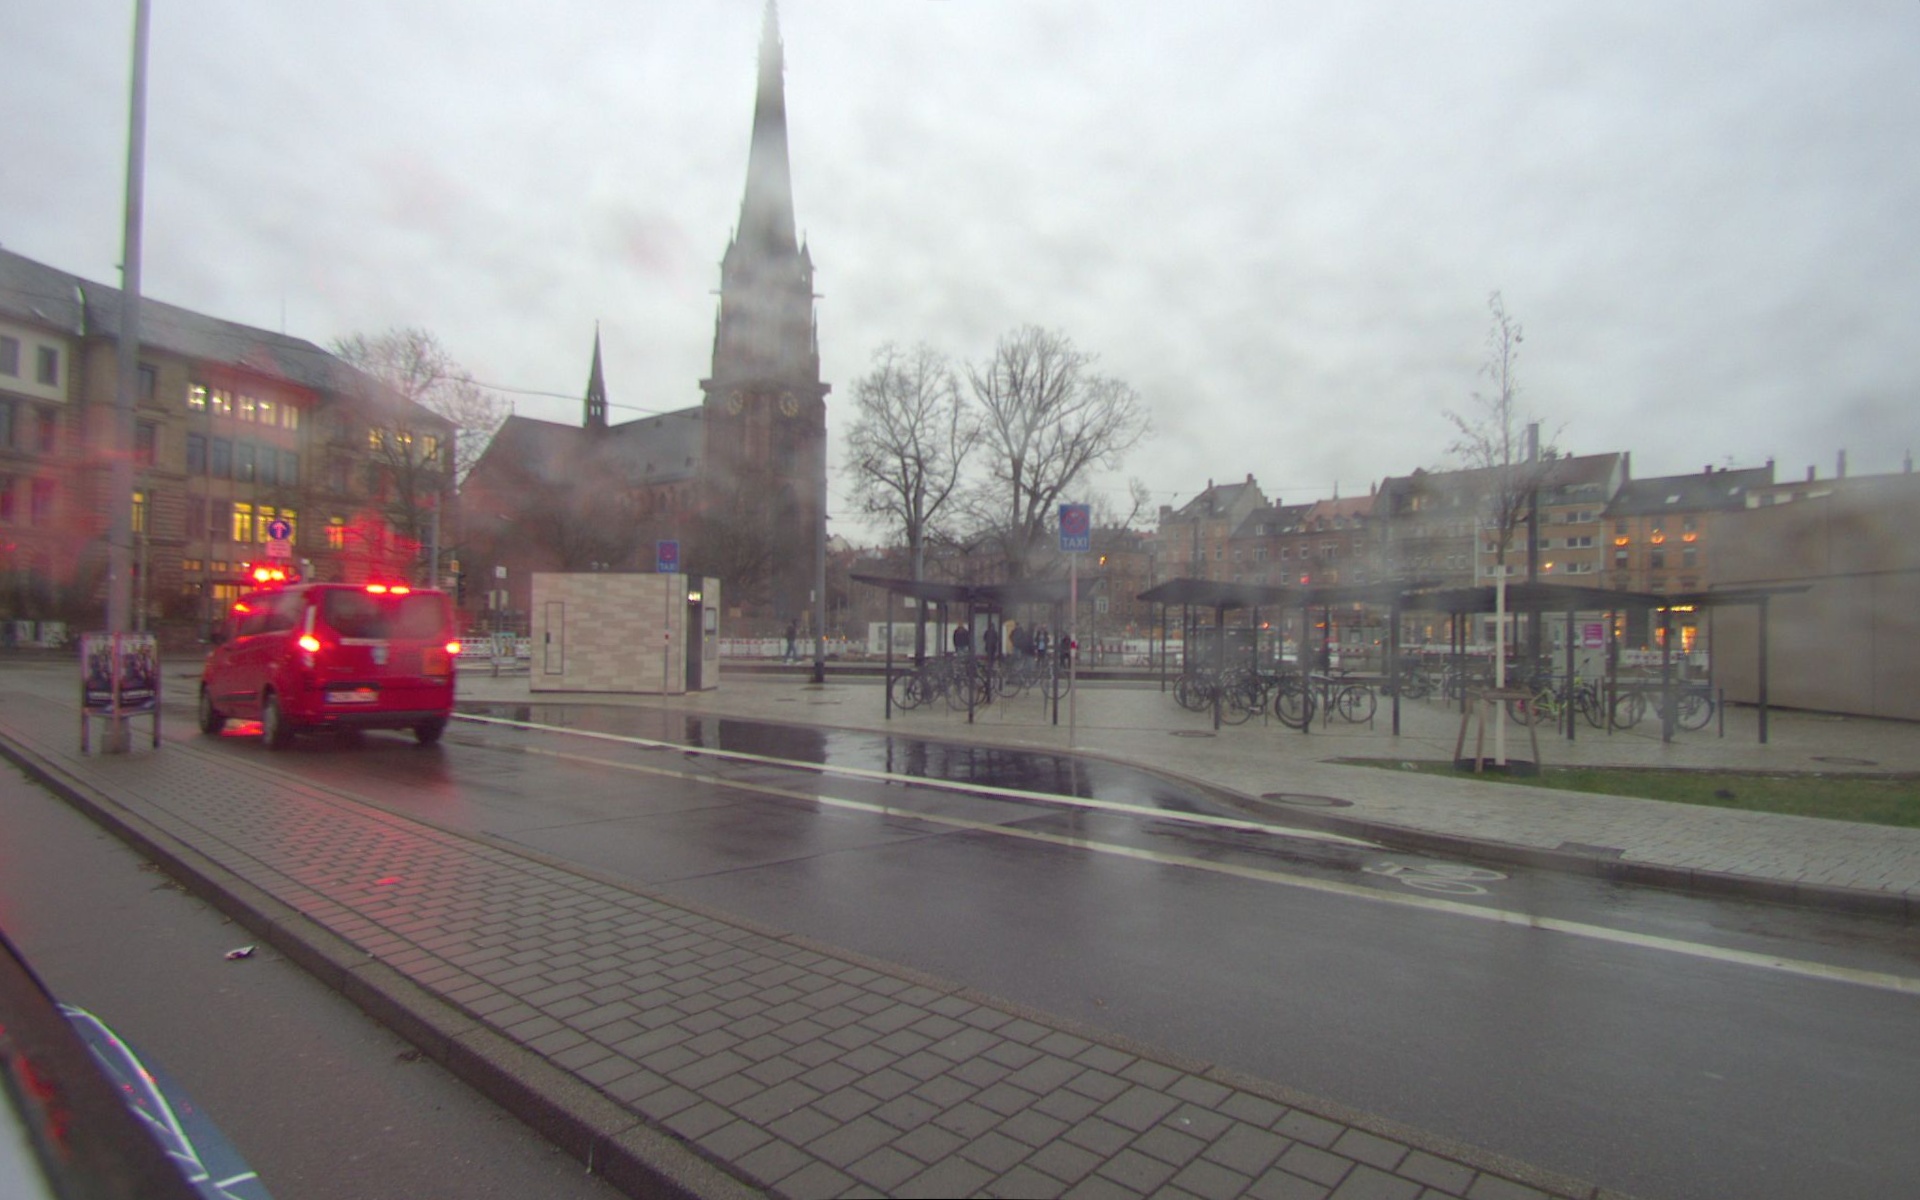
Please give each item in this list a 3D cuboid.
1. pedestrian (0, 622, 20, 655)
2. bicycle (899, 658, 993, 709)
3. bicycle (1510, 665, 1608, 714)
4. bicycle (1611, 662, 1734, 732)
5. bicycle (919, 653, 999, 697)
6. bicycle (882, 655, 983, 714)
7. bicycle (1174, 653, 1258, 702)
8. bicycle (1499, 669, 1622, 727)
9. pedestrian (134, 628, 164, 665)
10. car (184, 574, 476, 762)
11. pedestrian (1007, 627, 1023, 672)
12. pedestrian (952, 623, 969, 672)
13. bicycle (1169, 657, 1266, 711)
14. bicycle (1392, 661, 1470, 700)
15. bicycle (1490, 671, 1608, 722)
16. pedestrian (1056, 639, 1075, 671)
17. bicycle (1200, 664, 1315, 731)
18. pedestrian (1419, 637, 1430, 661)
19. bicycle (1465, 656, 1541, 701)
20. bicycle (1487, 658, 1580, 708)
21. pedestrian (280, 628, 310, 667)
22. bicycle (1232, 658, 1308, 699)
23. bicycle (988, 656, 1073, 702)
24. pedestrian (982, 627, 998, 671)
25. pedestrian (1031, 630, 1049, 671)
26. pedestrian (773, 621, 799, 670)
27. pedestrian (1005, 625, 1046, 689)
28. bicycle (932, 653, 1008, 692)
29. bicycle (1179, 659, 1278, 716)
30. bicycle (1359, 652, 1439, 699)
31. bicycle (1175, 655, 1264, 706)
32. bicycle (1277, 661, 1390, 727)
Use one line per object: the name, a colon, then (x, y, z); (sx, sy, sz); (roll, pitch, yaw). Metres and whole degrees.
pedestrian: (-51.222, 2.075, 54.211); (0.916, 1.737, 0.826); (0, -3, 4)
bicycle: (-0.287, 1.732, 21.108); (1.905, 0.993, 0.473); (1, -1, 11)
bicycle: (12.901, 1.917, 21.835); (1.751, 0.963, 0.473); (1, -1, 11)
bicycle: (12.690, 1.722, 18.050); (1.731, 1.165, 0.617); (1, -1, 1)
bicycle: (-0.014, 1.827, 24.873); (1.905, 0.993, 0.473); (1, -1, 11)
bicycle: (-0.538, 1.651, 19.871); (1.905, 1.078, 0.473); (1, -1, 11)
bicycle: (6.064, 1.827, 24.044); (1.905, 1.078, 0.473); (1, -1, 11)
bicycle: (11.126, 1.812, 18.789); (1.905, 0.983, 0.473); (1, -1, 11)
pedestrian: (-40.496, 2.312, 50.521); (0.885, 1.830, 0.674); (1, -2, -1)
car: (-8.505, 0.841, 13.496); (4.640, 2.086, 1.904); (-1, -4, 40)
pedestrian: (2.068, 1.854, 38.118); (0.543, 1.648, 0.571); (-1, 0, -1)
pedestrian: (0.004, 1.801, 38.582); (0.619, 1.808, 0.672); (-1, 0, -1)
bicycle: (5.431, 1.771, 21.405); (1.899, 1.078, 0.474); (1, -1, 2)
bicycle: (11.621, 1.989, 24.996); (1.672, 0.898, 0.474); (1, -1, 5)
bicycle: (11.368, 1.860, 19.576); (1.905, 0.898, 0.473); (1, -1, 11)
pedestrian: (3.981, 2.071, 38.328); (0.610, 1.165, 0.806); (-1, 0, -1)
bicycle: (5.257, 1.718, 17.961); (1.905, 1.078, 0.473); (1, -1, 11)
pedestrian: (39.986, 4.207, 87.133); (0.579, 2.029, 0.707); (3, -4, -40)
bicycle: (13.233, 1.914, 24.669); (1.551, 1.044, 0.521); (1, -1, 1)
bicycle: (13.253, 1.907, 23.422); (1.810, 1.081, 0.474); (1, -1, 8)
pedestrian: (-33.190, 2.366, 50.542); (0.960, 1.915, 0.674); (1, -2, 2)
bicycle: (7.663, 1.940, 25.075); (1.729, 0.946, 0.474); (1, -1, 7)
bicycle: (1.640, 1.820, 23.427); (1.905, 0.993, 0.473); (1, -1, 11)
pedestrian: (1.148, 1.858, 38.656); (0.556, 1.664, 0.540); (-1, 0, -1)
pedestrian: (3.034, 1.909, 38.336); (0.580, 1.513, 0.675); (-1, 0, -1)
pedestrian: (-6.635, 1.726, 38.617); (0.816, 1.808, 0.669); (-1, 0, 5)
pedestrian: (1.857, 1.609, 28.633); (1.056, 1.778, 1.008); (0, -3, 10)
bicycle: (0.271, 1.866, 26.131); (1.905, 0.917, 0.473); (1, -1, 11)
bicycle: (5.445, 1.773, 20.622); (1.905, 1.078, 0.473); (1, -1, 11)
bicycle: (11.185, 1.923, 25.806); (1.780, 1.116, 0.473); (1, -1, 11)
bicycle: (5.850, 1.807, 22.854); (1.905, 1.078, 0.473); (1, -1, 11)
bicycle: (6.946, 1.733, 18.871); (1.905, 1.129, 0.473); (1, -1, 11)
